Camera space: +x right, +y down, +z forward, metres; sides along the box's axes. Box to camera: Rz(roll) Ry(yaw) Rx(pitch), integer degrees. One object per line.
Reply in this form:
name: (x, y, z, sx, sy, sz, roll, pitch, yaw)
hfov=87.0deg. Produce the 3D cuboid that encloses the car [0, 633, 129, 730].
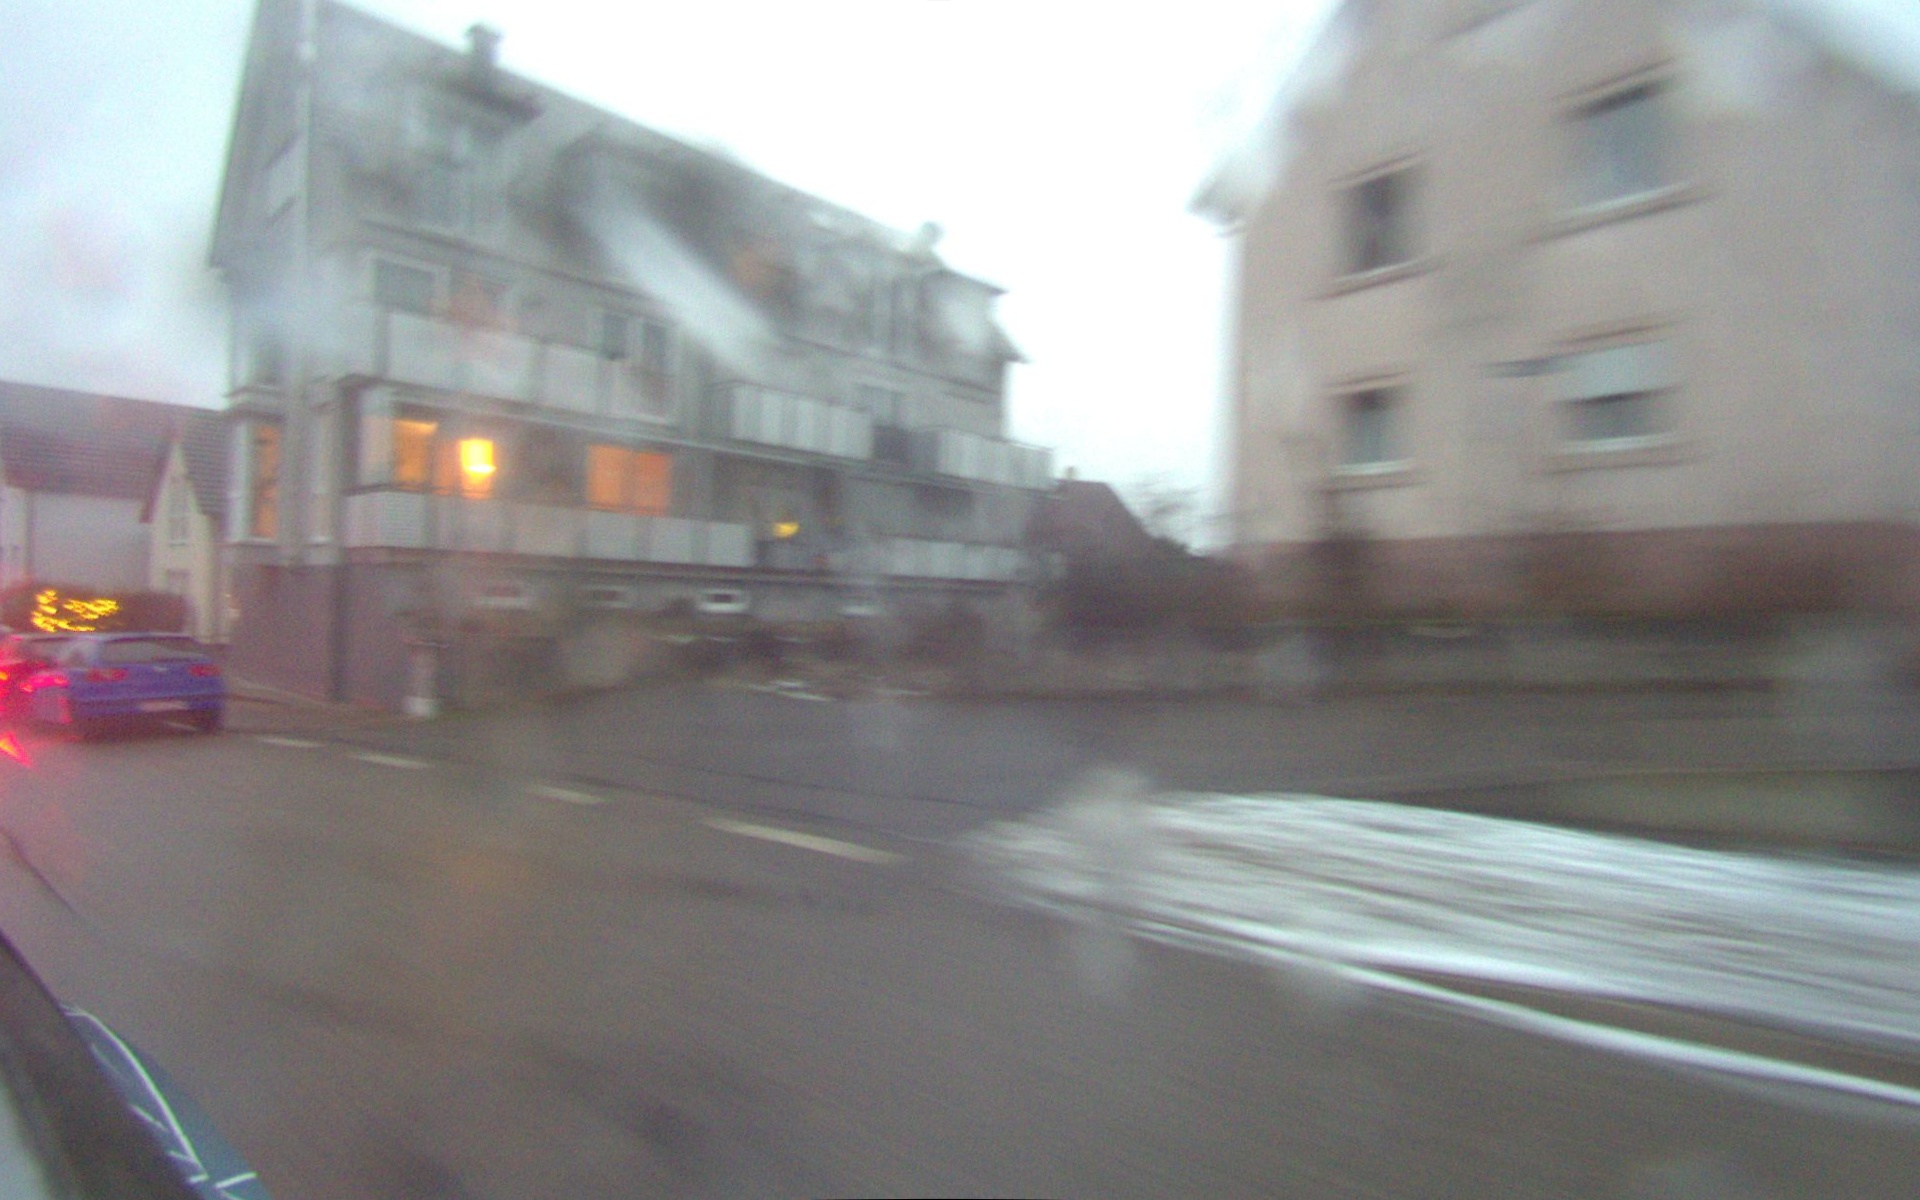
car: (-15.438, 1.294, 16.894, 3.685, 1.428, 1.649, -2, -2, 38)

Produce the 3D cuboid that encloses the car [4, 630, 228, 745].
car: (-12.034, 1.183, 14.363, 3.908, 1.420, 1.651, -3, -4, 38)
